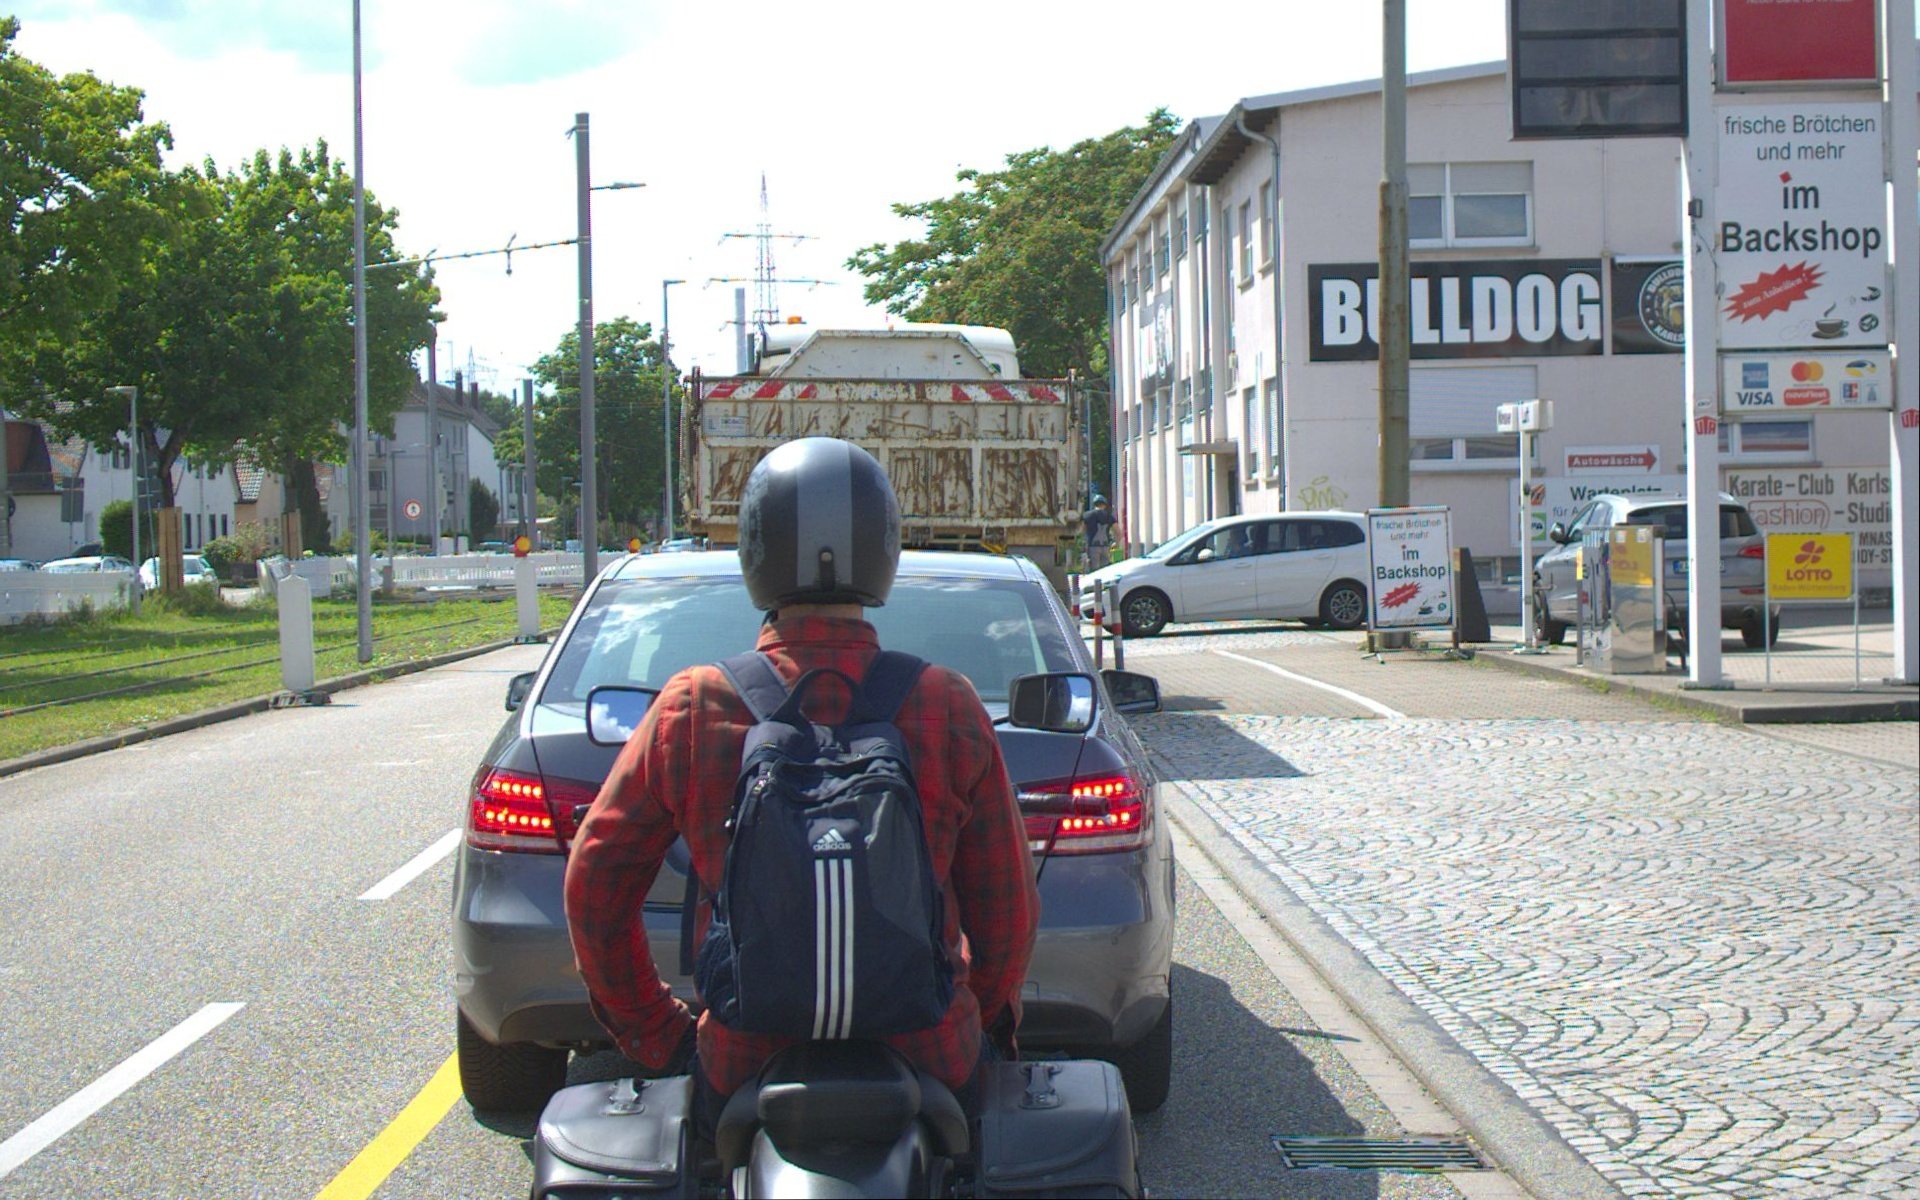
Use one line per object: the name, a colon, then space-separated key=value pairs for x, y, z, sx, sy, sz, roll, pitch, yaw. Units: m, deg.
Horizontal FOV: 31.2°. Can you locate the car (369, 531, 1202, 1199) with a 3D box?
car: x=-0.445 y=0.567 z=9.723 sx=1.832 sy=1.474 sz=4.010 roll=-1 pitch=1 yaw=-2

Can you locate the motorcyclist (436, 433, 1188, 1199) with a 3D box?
motorcyclist: x=-0.203 y=0.588 z=5.088 sx=0.969 sy=1.627 sz=1.215 roll=1 pitch=1 yaw=-1

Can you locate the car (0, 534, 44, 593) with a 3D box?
car: x=-29.269 y=-1.110 z=104.590 sx=1.698 sy=1.733 sz=4.062 roll=-1 pitch=1 yaw=0

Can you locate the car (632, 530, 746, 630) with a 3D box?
car: x=-4.634 y=-0.378 z=59.296 sx=1.680 sy=1.619 sz=4.119 roll=-1 pitch=1 yaw=-1

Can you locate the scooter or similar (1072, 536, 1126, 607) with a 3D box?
scooter or similar: x=2.283 y=-0.474 z=56.651 sx=0.795 sy=1.141 sz=1.519 roll=-1 pitch=1 yaw=-1

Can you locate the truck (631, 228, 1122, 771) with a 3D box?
truck: x=-0.633 y=-0.715 z=25.472 sx=2.970 sy=3.293 sz=8.408 roll=-1 pitch=1 yaw=-2

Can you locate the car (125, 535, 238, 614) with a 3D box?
car: x=-17.886 y=-0.606 z=79.135 sx=1.698 sy=1.733 sz=3.860 roll=-1 pitch=1 yaw=0

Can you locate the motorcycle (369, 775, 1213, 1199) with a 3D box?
motorcycle: x=-0.213 y=0.863 z=5.211 sx=0.976 sy=1.010 sz=2.432 roll=1 pitch=1 yaw=-1

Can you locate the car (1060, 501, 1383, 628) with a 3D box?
car: x=3.550 y=-0.500 z=47.035 sx=4.104 sy=1.619 sz=1.686 roll=-1 pitch=1 yaw=-8

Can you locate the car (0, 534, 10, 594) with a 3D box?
car: x=-28.674 y=-0.999 z=98.579 sx=1.698 sy=1.733 sz=4.062 roll=-1 pitch=1 yaw=0

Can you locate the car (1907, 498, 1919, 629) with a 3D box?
car: x=11.789 y=-0.400 z=37.248 sx=1.832 sy=1.474 sz=4.010 roll=-1 pitch=1 yaw=-2

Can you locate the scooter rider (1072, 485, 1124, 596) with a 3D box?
scooter rider: x=2.271 y=-0.983 z=56.589 sx=0.795 sy=1.812 sz=0.508 roll=-1 pitch=1 yaw=-1

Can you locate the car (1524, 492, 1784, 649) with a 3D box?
car: x=7.325 y=-0.340 z=36.649 sx=1.832 sy=1.530 sz=4.010 roll=-1 pitch=1 yaw=-2
